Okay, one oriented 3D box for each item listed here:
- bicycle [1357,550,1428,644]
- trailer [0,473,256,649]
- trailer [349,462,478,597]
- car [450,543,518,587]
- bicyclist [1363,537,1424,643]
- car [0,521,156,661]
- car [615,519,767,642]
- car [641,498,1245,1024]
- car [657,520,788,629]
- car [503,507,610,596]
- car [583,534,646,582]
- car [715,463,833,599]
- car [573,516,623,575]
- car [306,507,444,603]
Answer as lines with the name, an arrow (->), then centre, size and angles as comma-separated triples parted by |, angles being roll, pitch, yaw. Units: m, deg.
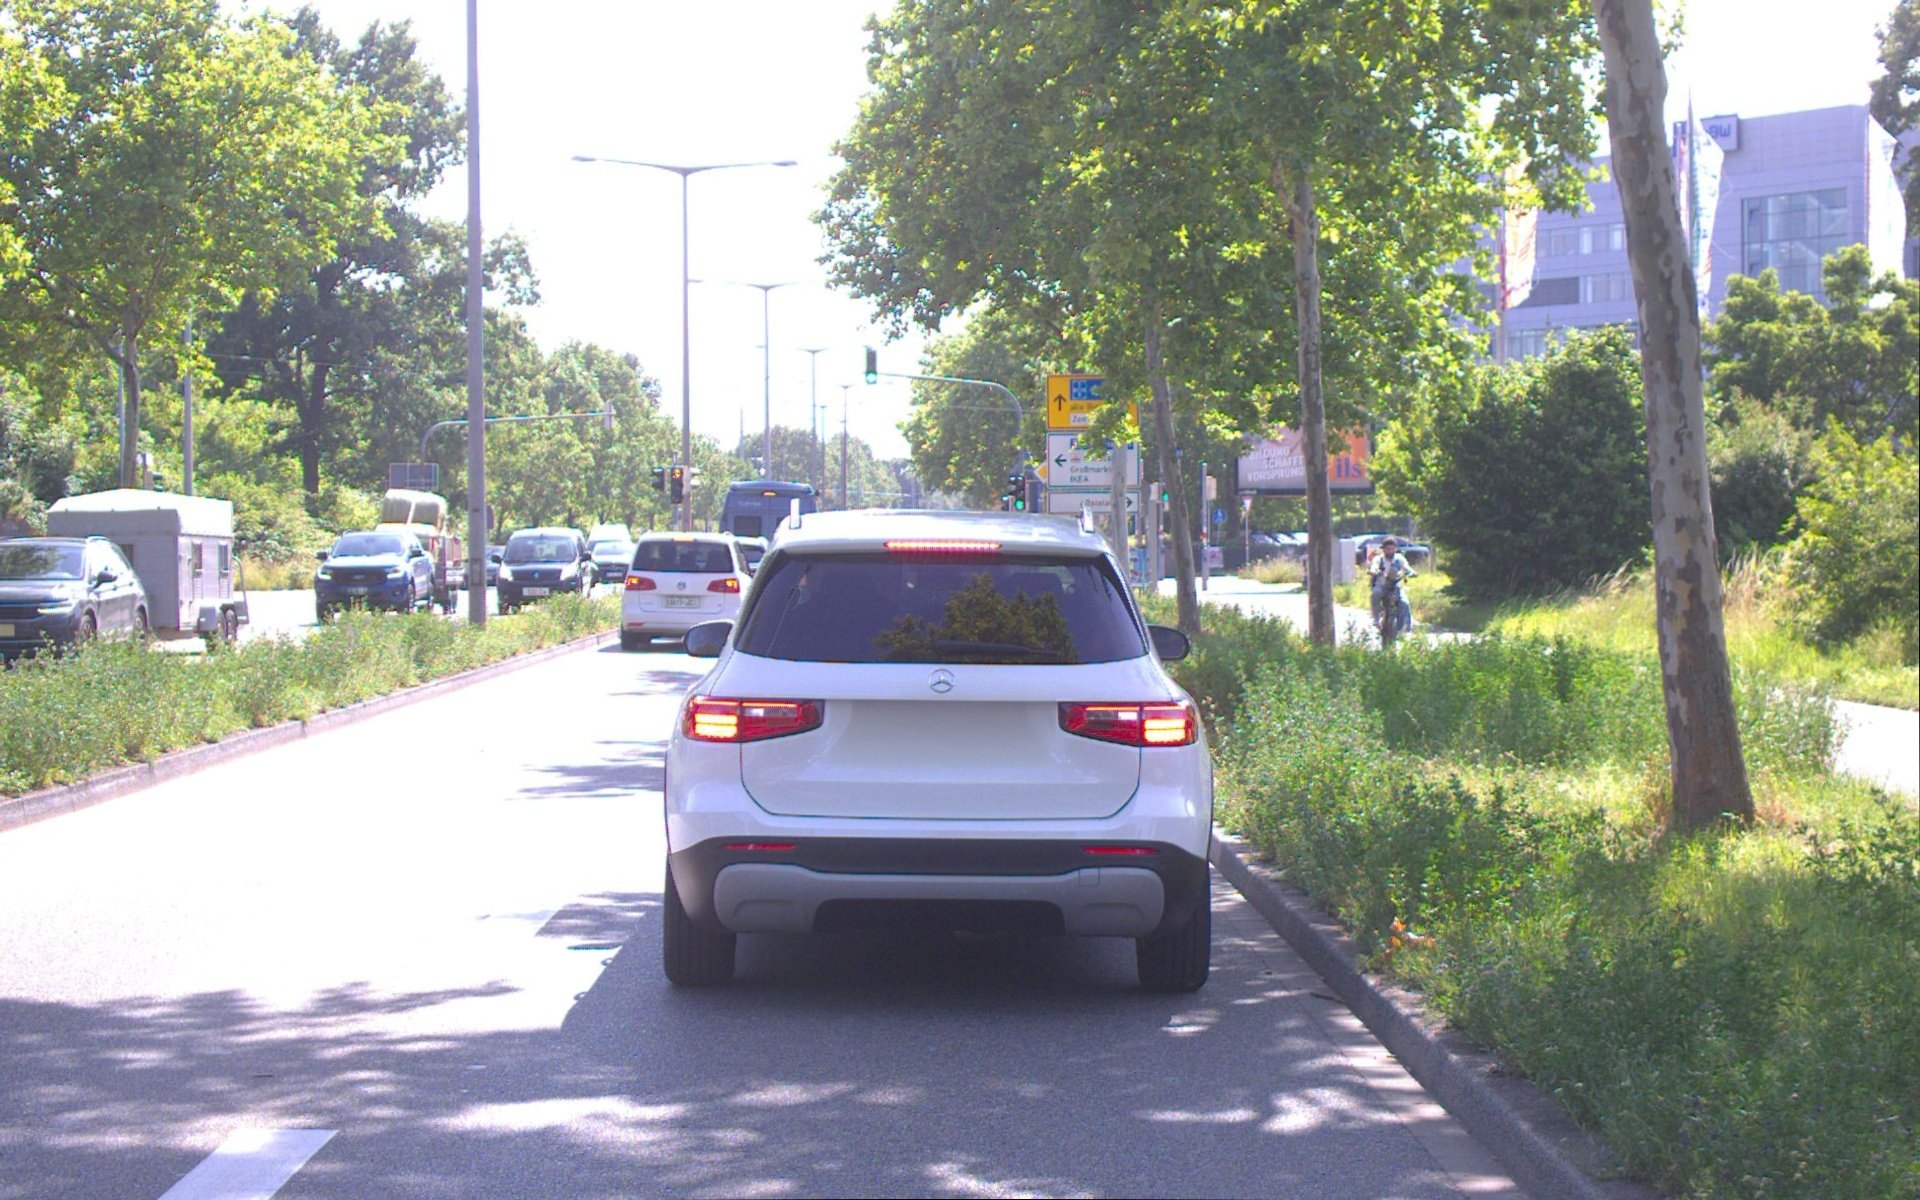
bicycle -> 6.111, -0.052, 48.654 | 0.723, 1.294, 2.096 | 1, 1, 0
trailer -> -11.356, -0.542, 46.962 | 2.309, 2.257, 5.538 | 0, 1, 0
trailer -> -11.600, -1.493, 73.268 | 1.880, 2.734, 4.829 | 2, 1, 0
car -> -15.160, -1.126, 109.565 | 1.701, 1.360, 3.646 | 1, 1, -1
bicyclist -> 6.131, -0.147, 48.648 | 0.704, 1.472, 1.010 | 1, 1, 0
car -> -11.197, -0.135, 41.985 | 1.715, 1.616, 4.361 | 0, 1, 0
car -> -3.763, -0.290, 48.639 | 1.771, 1.641, 4.352 | 1, 1, 0
car -> -0.112, 0.465, 12.673 | 1.853, 1.602, 4.000 | -1, 1, -2
car -> -3.751, -0.420, 54.772 | 1.771, 1.641, 4.084 | 1, 1, 0
car -> -8.597, -1.033, 73.507 | 1.731, 1.803, 4.232 | 2, 1, 0
car -> -10.923, -1.332, 108.884 | 1.603, 1.467, 3.790 | 1, 1, 0
car -> -3.788, -1.404, 70.749 | 2.081, 2.647, 4.874 | 1, 1, 0
car -> -15.103, -2.283, 143.316 | 1.993, 2.410, 5.140 | 1, 1, -7
car -> -11.607, -0.900, 68.485 | 1.764, 1.783, 5.376 | 2, 1, 0
